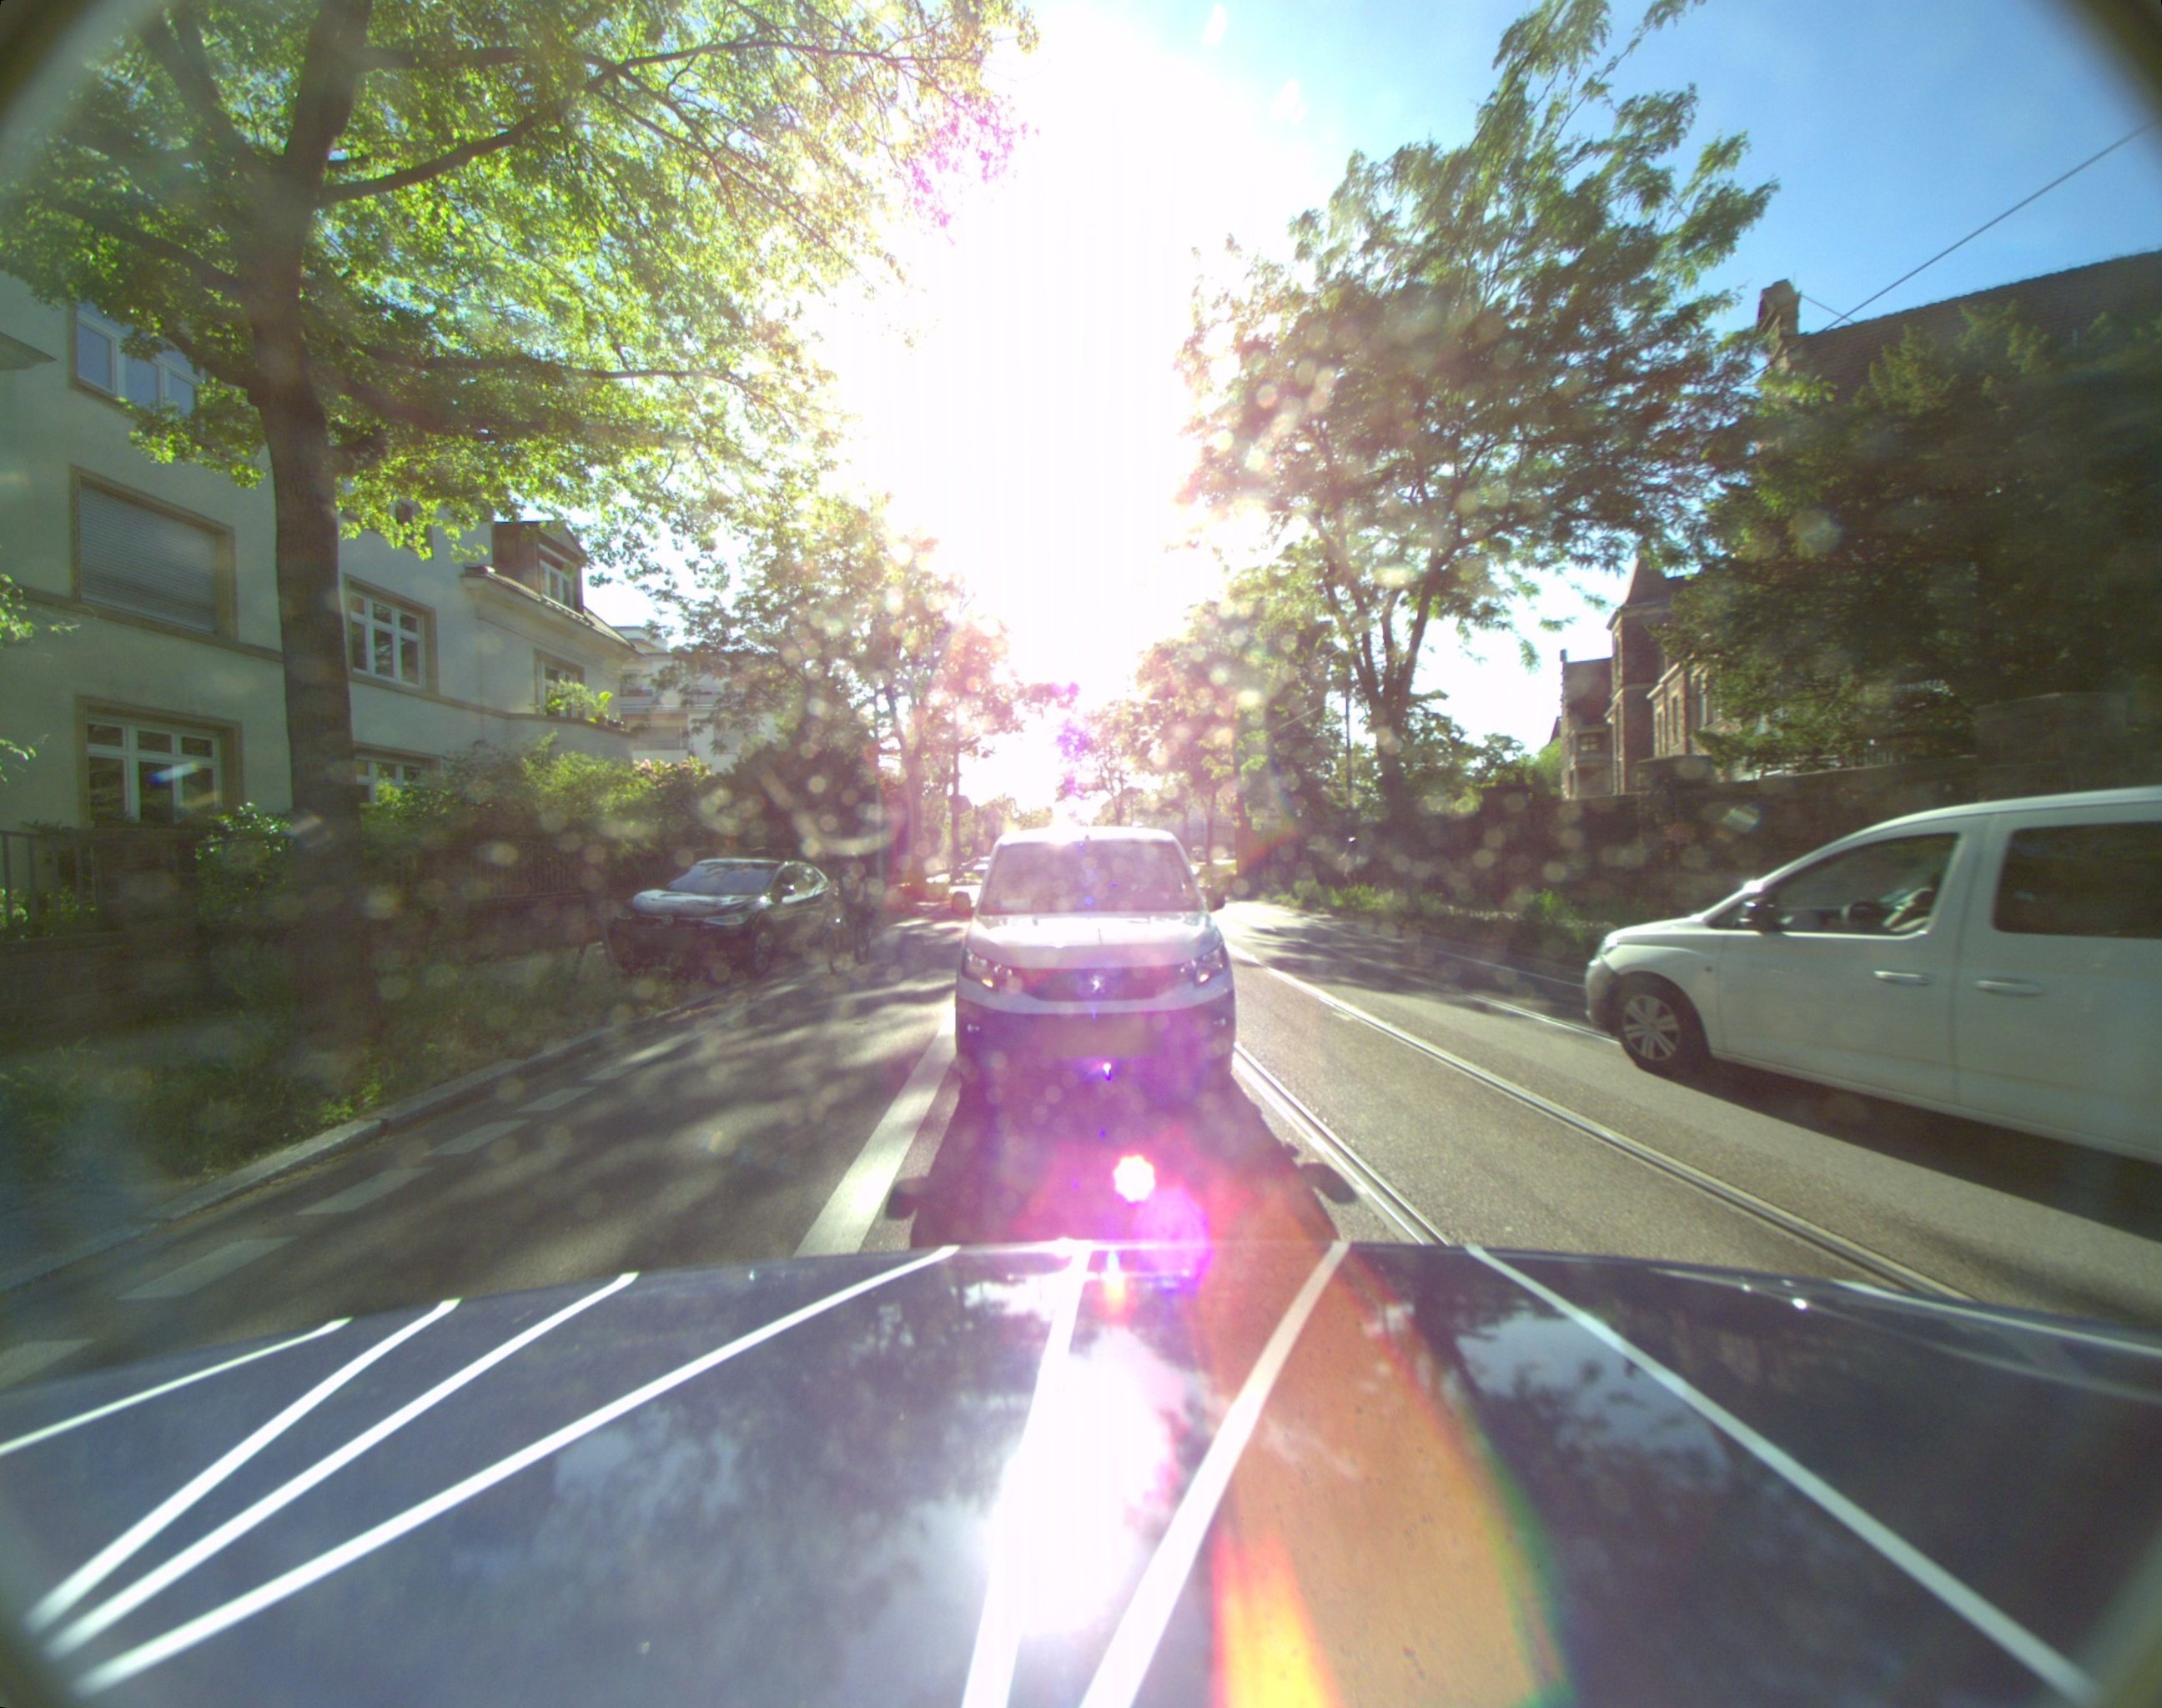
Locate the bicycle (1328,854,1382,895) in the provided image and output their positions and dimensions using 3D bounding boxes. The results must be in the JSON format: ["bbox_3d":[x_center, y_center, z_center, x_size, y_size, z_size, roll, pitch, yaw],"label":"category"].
[{"bbox_3d":[7.776,0.564,21.672,0.686,1.082,2.063,-2,0,-3],"label":"bicycle"}]

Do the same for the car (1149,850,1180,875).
[{"bbox_3d":[5.784,0.551,53.040,1.822,1.597,4.359,-2,0,2],"label":"car"}]

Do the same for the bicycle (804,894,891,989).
[{"bbox_3d":[-3.295,1.204,10.895,0.644,1.137,1.815,-1,0,1],"label":"bicycle"}]

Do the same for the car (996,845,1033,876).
[{"bbox_3d":[-4.503,0.418,51.935,1.998,2.002,4.583,-2,0,1],"label":"car"}]

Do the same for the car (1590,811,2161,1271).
[{"bbox_3d":[4.970,0.699,3.572,1.833,1.777,4.250,-1,1,-10],"label":"car"}]

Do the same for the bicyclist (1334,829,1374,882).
[{"bbox_3d":[7.763,0.053,21.640,0.654,1.451,1.152,-2,1,-2],"label":"bicyclist"}]

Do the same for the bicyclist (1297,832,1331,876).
[{"bbox_3d":[8.044,-0.004,26.236,0.655,1.451,1.151,-2,1,-8],"label":"bicyclist"}]

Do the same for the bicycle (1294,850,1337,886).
[{"bbox_3d":[8.064,0.462,26.217,0.686,1.083,1.852,-2,4,-8],"label":"bicycle"}]

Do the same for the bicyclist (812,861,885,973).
[{"bbox_3d":[-3.299,0.861,10.878,0.623,1.479,1.115,-2,1,1],"label":"bicyclist"}]

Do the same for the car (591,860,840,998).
[{"bbox_3d":[-5.159,0.938,11.426,1.743,1.597,4.091,2,0,0],"label":"car"}]

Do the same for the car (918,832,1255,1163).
[{"bbox_3d":[0.048,0.779,6.542,1.793,1.770,4.786,-2,0,0],"label":"car"}]

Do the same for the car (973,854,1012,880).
[{"bbox_3d":[-5.255,0.741,45.470,1.787,1.443,4.000,-2,0,1],"label":"car"}]
